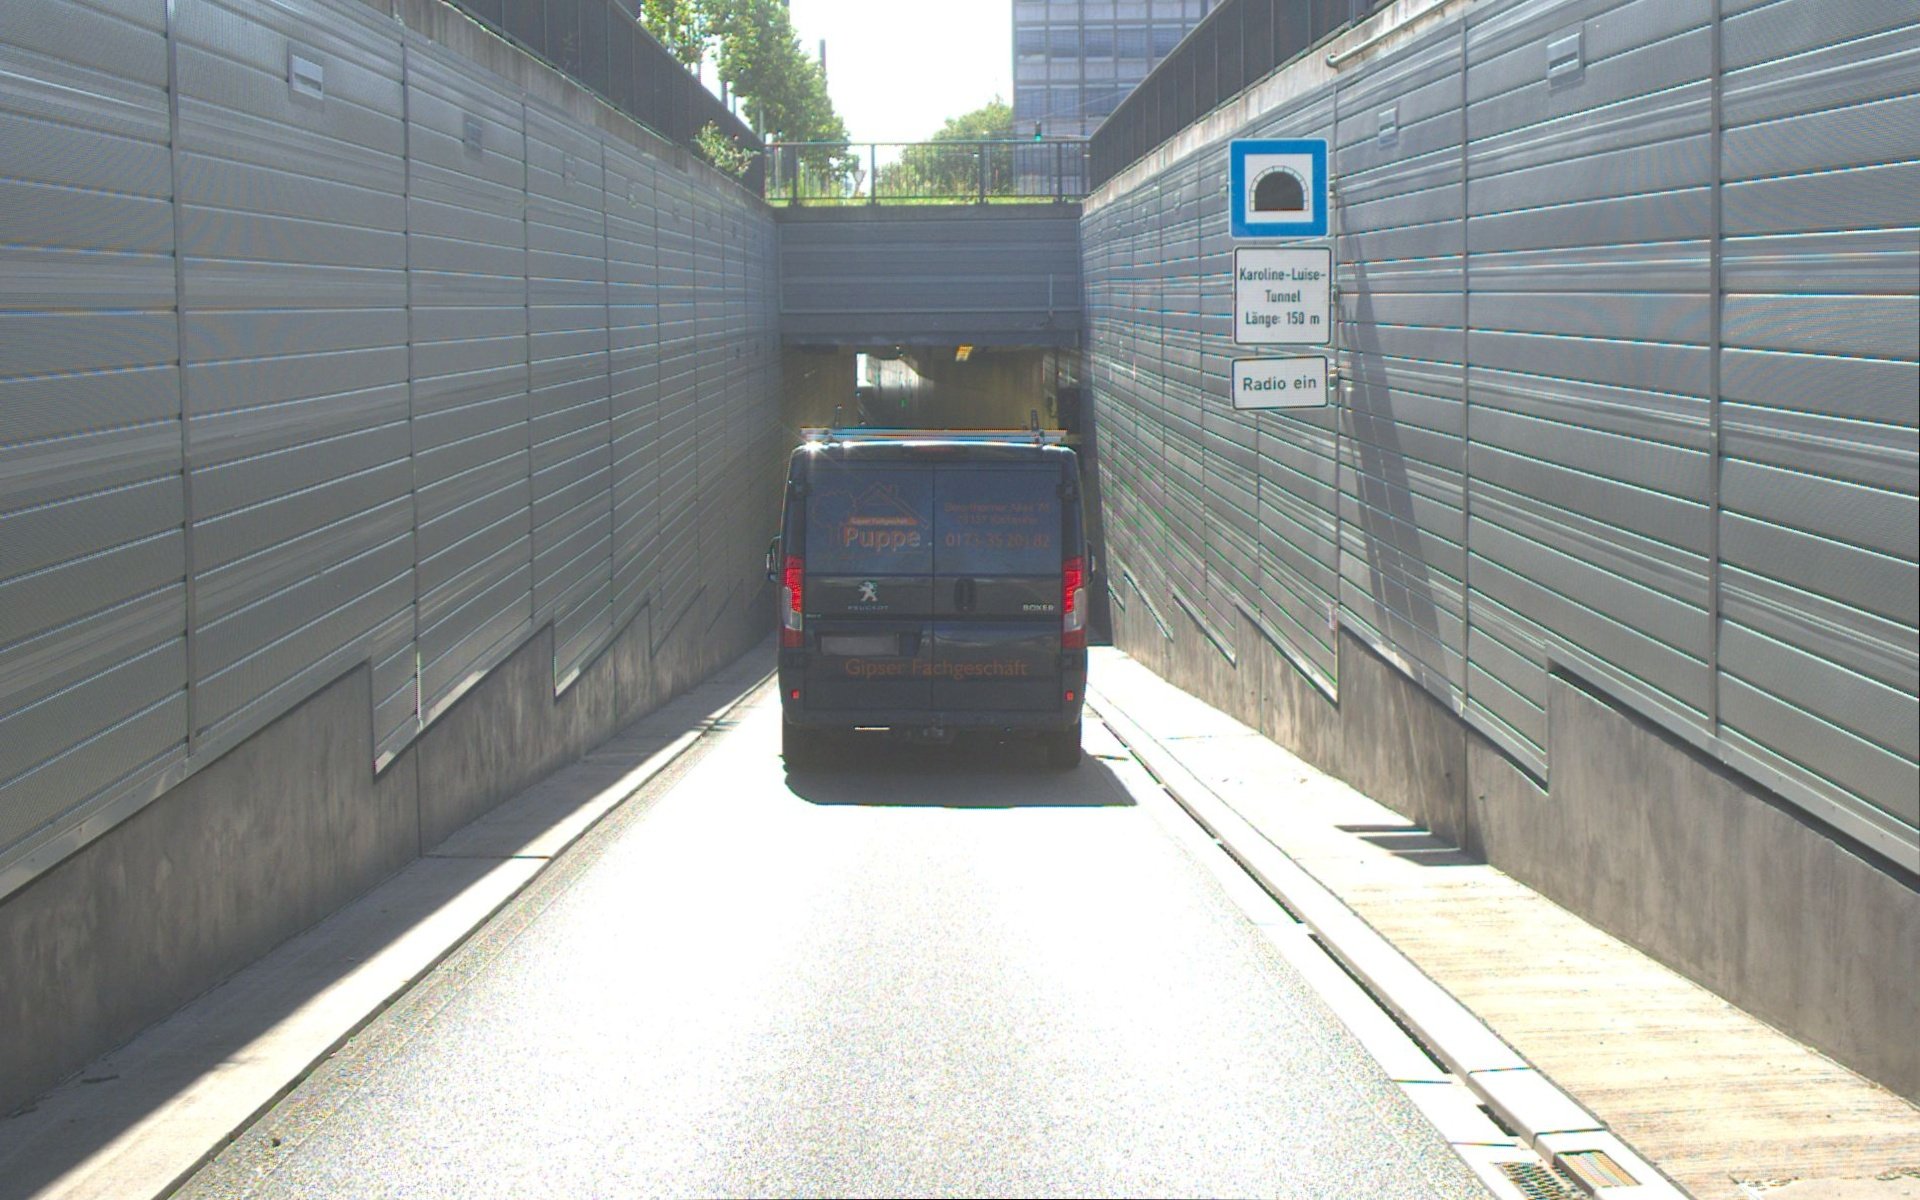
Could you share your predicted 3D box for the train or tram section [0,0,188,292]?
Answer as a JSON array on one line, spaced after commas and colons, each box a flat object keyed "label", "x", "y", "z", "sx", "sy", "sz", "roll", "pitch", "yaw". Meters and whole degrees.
[{"label": "train or tram section", "x": -9.493, "y": -4.691, "z": 30.275, "sx": 2.610, "sy": 3.807, "sz": 13.095, "roll": 1, "pitch": 5, "yaw": -1}]

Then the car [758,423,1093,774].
[{"label": "car", "x": -0.223, "y": -0.060, "z": 24.469, "sx": 2.158, "sy": 2.258, "sz": 4.637, "roll": 0, "pitch": 1, "yaw": 0}]
